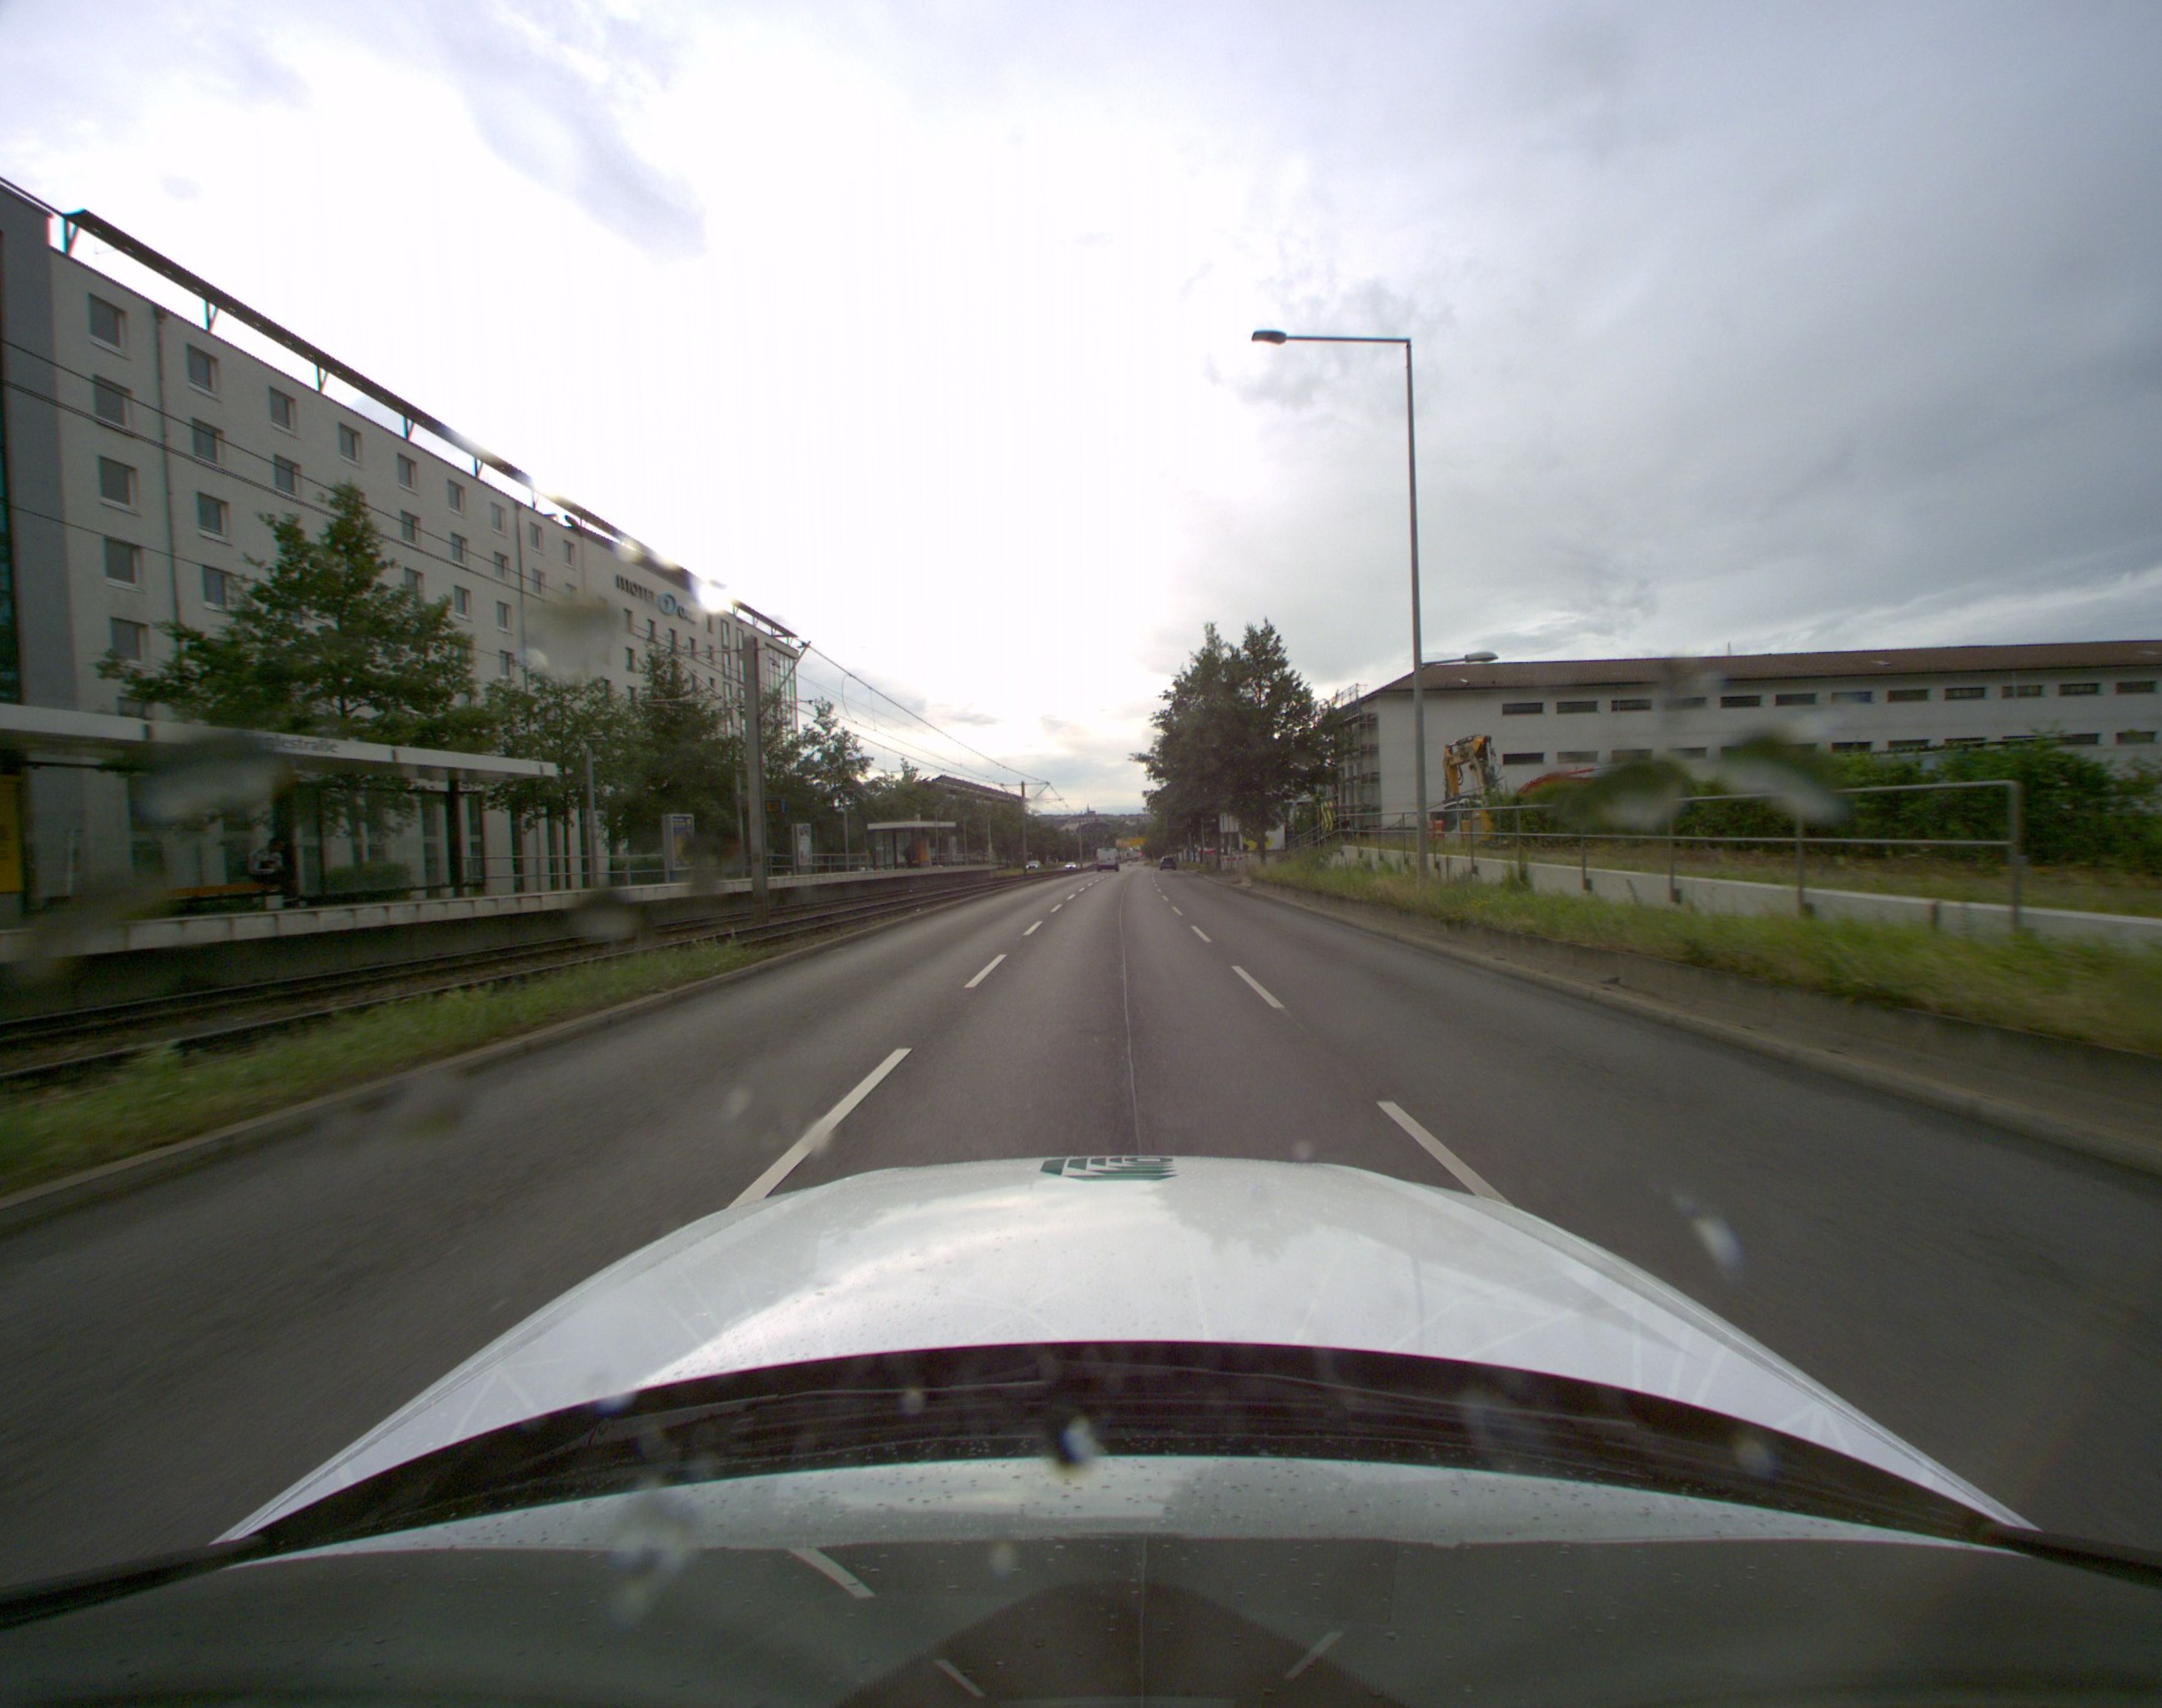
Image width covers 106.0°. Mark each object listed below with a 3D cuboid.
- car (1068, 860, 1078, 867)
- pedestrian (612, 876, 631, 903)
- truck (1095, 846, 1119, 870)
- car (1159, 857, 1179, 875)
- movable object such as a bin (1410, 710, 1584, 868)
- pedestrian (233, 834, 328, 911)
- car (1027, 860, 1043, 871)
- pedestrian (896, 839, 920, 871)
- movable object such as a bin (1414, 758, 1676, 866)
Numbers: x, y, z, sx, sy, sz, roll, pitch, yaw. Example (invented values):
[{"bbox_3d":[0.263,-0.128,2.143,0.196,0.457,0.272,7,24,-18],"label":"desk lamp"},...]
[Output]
[{"bbox_3d":[-1.813,2.177,182.559,1.829,1.444,4.434,-3,-1,5],"label":"car"},{"bbox_3d":[-27.228,2.088,48.281,0.597,1.578,0.836,0,-1,4],"label":"pedestrian"},{"bbox_3d":[2.646,0.410,81.035,2.351,2.262,5.309,0,-1,3],"label":"truck"},{"bbox_3d":[9.633,1.315,89.404,1.984,2.014,3.939,0,-1,5],"label":"car"},{"bbox_3d":[16.748,-2.281,33.747,3.275,5.685,8.774,0,-1,4],"label":"movable object such as a bin"},{"bbox_3d":[-14.018,0.319,14.284,0.957,1.300,0.685,-2,0,2],"label":"pedestrian"},{"bbox_3d":[-7.669,1.919,137.164,1.984,1.847,5.008,-3,0,4],"label":"car"},{"bbox_3d":[-10.752,0.064,50.732,1.121,2.014,1.272,0,-1,4],"label":"pedestrian"},{"bbox_3d":[25.271,-2.185,44.927,12.096,5.261,3.790,-2,-1,1],"label":"movable object such as a bin"}]
